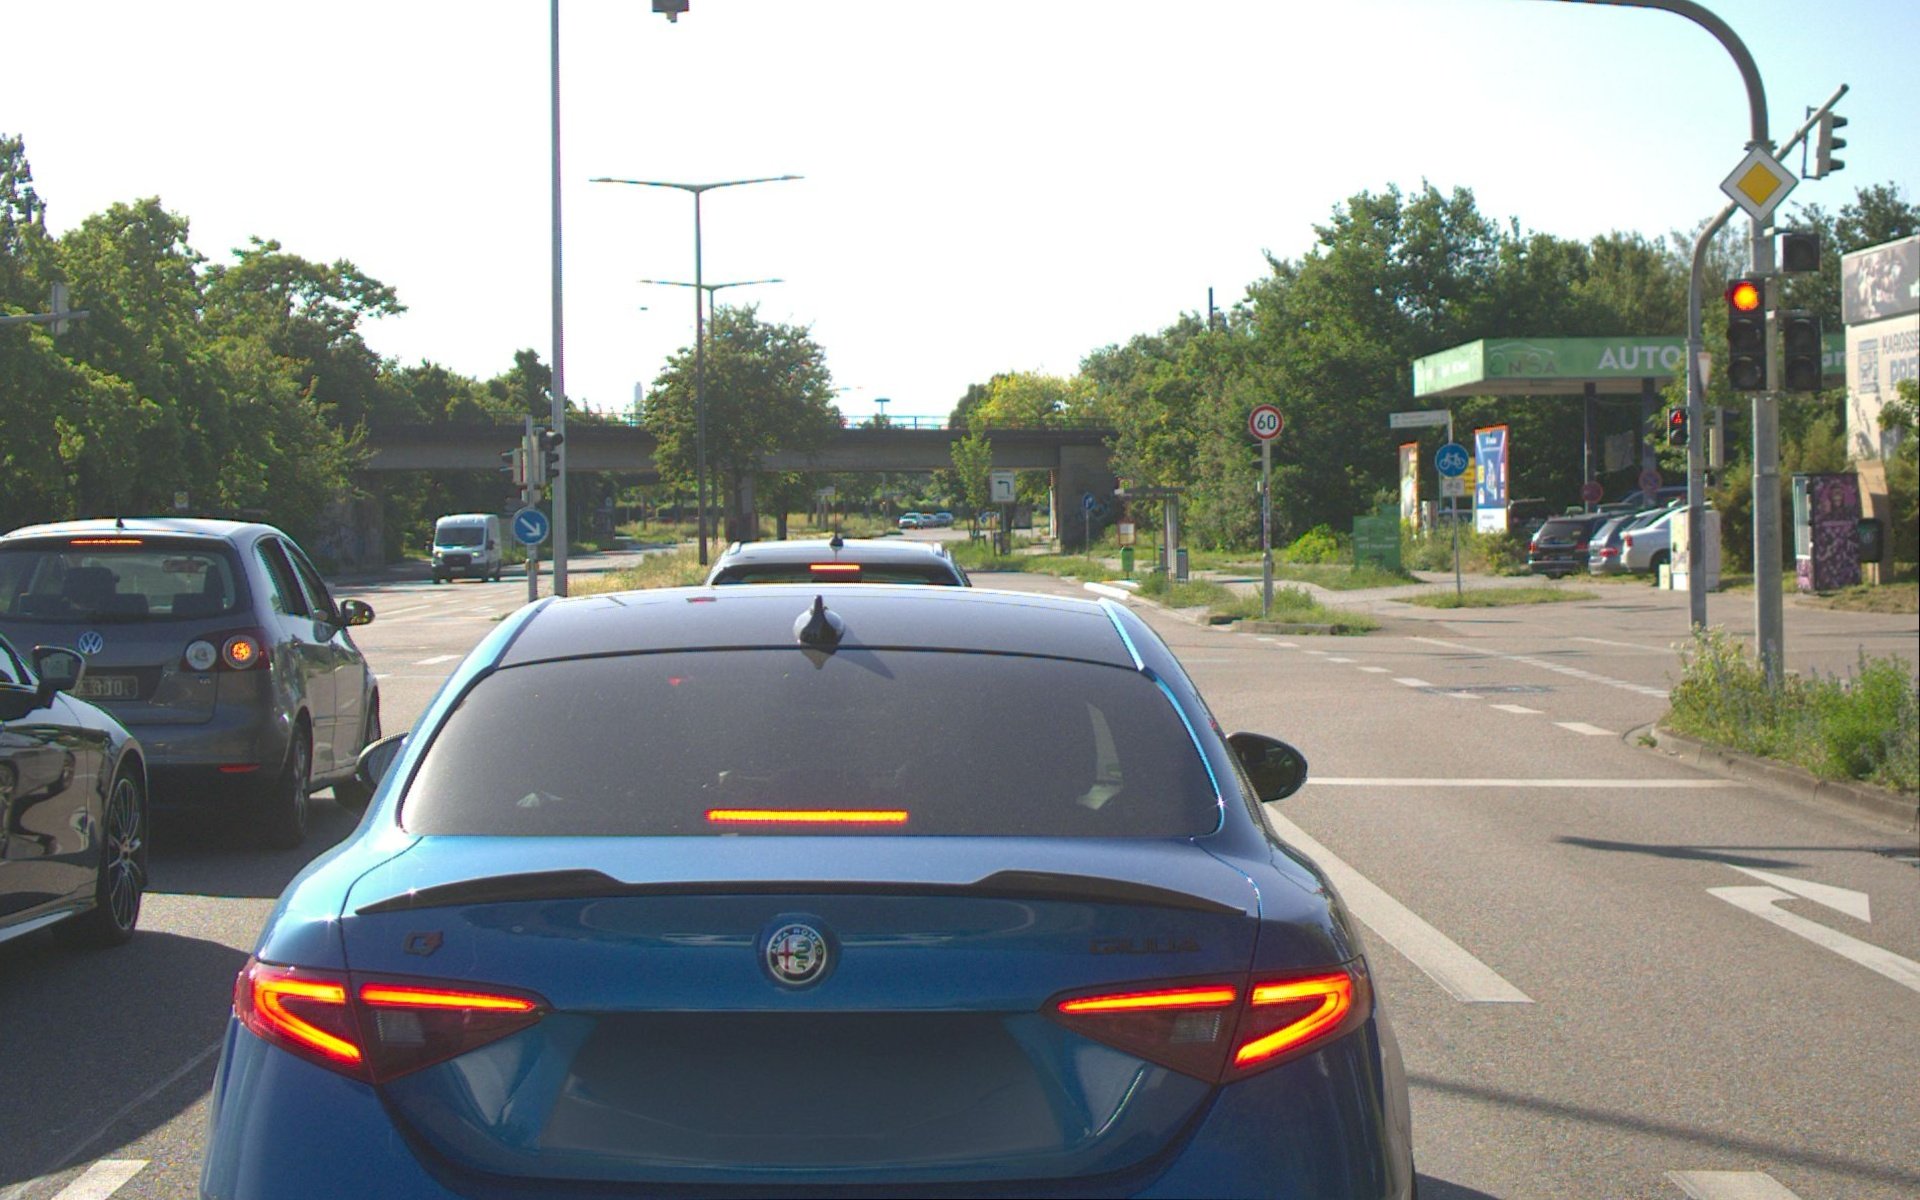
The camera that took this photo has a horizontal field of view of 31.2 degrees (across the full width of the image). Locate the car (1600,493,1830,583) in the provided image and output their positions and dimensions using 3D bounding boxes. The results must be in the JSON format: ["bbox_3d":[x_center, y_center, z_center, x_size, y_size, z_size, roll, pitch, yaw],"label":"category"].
[{"bbox_3d":[14.517,-1.193,66.122,3.986,1.700,1.696,-1,1,-16],"label":"car"}]

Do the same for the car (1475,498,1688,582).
[{"bbox_3d":[12.827,-1.246,70.978,3.986,1.700,1.696,-1,1,-19],"label":"car"}]

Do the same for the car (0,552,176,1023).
[{"bbox_3d":[-3.804,0.578,10.657,1.768,1.409,4.461,0,1,-1],"label":"car"}]

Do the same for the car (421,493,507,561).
[{"bbox_3d":[-18.056,-2.668,125.384,2.431,2.418,5.831,0,1,-2],"label":"car"}]

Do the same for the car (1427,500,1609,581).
[{"bbox_3d":[12.027,-1.283,74.169,3.483,1.700,1.696,-1,1,-16],"label":"car"}]

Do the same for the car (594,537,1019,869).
[{"bbox_3d":[-0.697,0.418,17.095,1.866,1.445,3.932,0,1,-1],"label":"car"}]

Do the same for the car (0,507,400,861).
[{"bbox_3d":[-3.978,0.340,17.500,1.648,1.593,3.932,0,1,-1],"label":"car"}]

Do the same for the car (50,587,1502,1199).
[{"bbox_3d":[-0.260,0.703,6.400,1.866,1.380,3.932,0,1,-1],"label":"car"}]
